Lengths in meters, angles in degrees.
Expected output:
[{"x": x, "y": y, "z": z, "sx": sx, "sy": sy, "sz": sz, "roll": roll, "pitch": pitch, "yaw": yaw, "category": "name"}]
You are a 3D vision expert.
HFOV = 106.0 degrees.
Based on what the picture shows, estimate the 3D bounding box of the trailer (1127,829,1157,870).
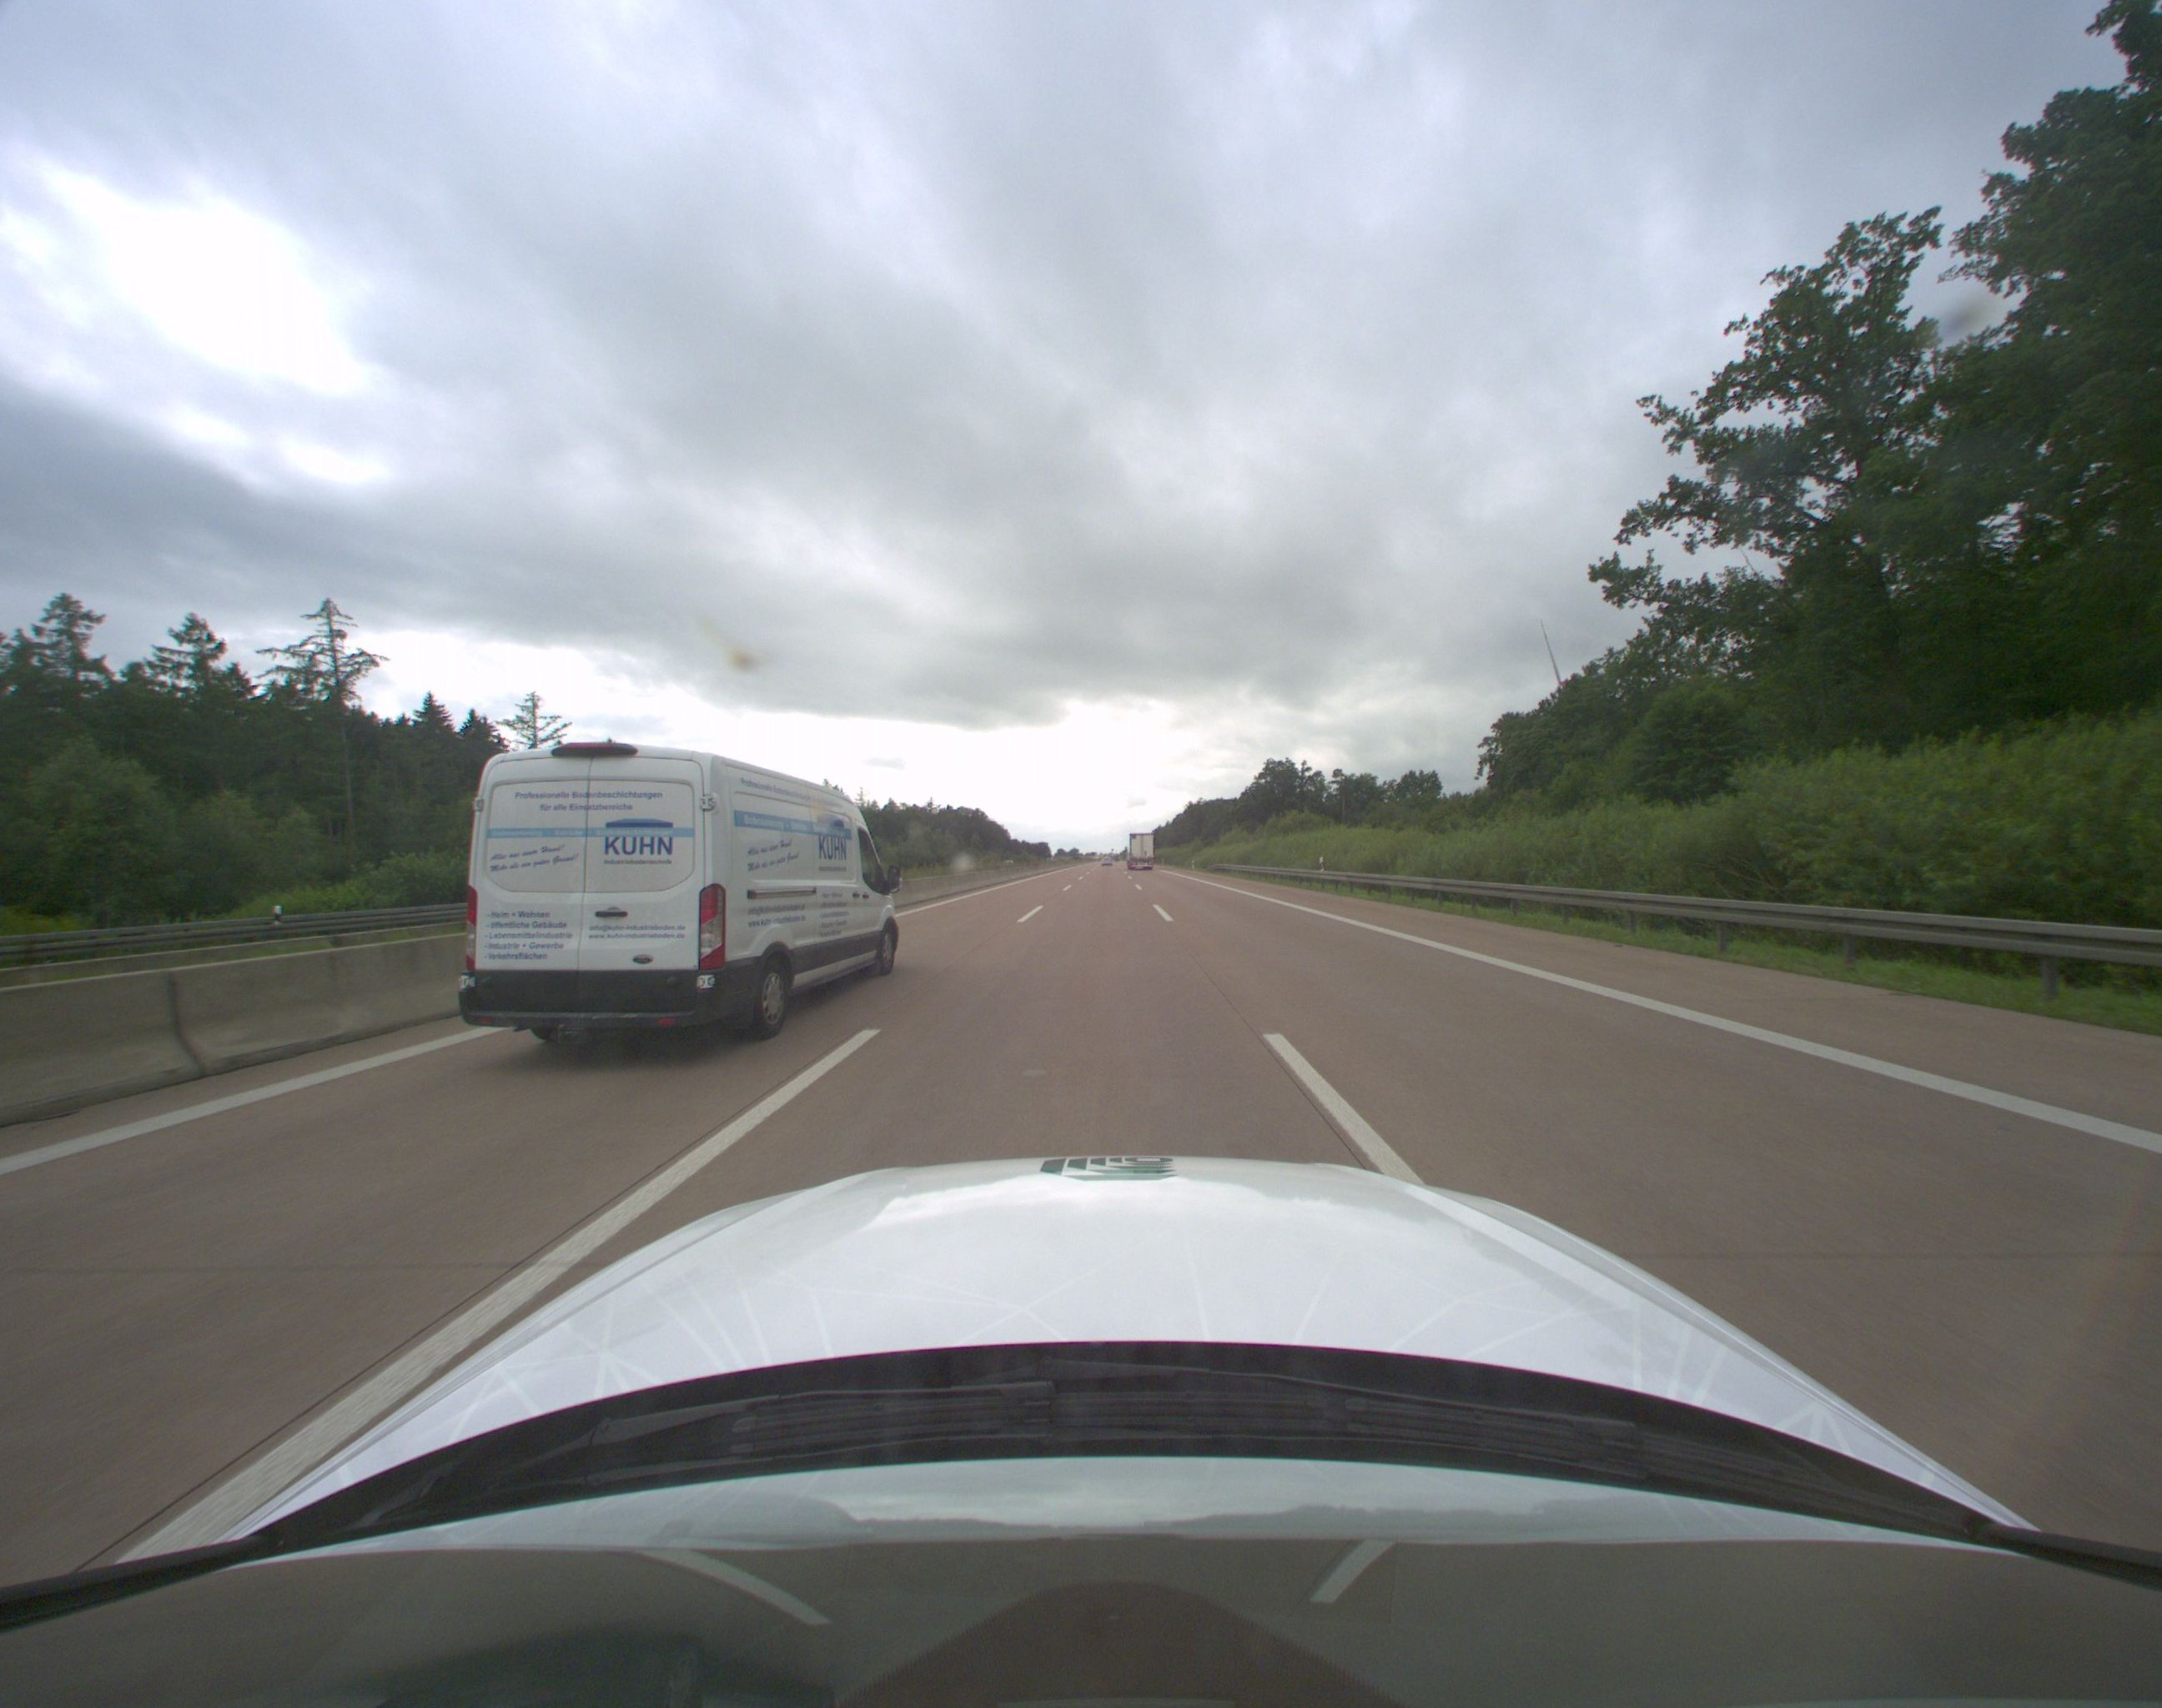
[{"x": 6.813, "y": -0.616, "z": 92.837, "sx": 2.910, "sy": 4.293, "sz": 13.622, "roll": -1, "pitch": 1, "yaw": 2, "category": "trailer"}]

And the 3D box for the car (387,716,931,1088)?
[{"x": -3.562, "y": 0.327, "z": 9.162, "sx": 2.129, "sy": 2.507, "sz": 7.135, "roll": -1, "pitch": 0, "yaw": 2, "category": "car"}]

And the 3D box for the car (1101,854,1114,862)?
[{"x": 4.564, "y": 0.672, "z": 141.204, "sx": 2.154, "sy": 1.451, "sz": 4.723, "roll": 0, "pitch": 0, "yaw": 4, "category": "car"}]
